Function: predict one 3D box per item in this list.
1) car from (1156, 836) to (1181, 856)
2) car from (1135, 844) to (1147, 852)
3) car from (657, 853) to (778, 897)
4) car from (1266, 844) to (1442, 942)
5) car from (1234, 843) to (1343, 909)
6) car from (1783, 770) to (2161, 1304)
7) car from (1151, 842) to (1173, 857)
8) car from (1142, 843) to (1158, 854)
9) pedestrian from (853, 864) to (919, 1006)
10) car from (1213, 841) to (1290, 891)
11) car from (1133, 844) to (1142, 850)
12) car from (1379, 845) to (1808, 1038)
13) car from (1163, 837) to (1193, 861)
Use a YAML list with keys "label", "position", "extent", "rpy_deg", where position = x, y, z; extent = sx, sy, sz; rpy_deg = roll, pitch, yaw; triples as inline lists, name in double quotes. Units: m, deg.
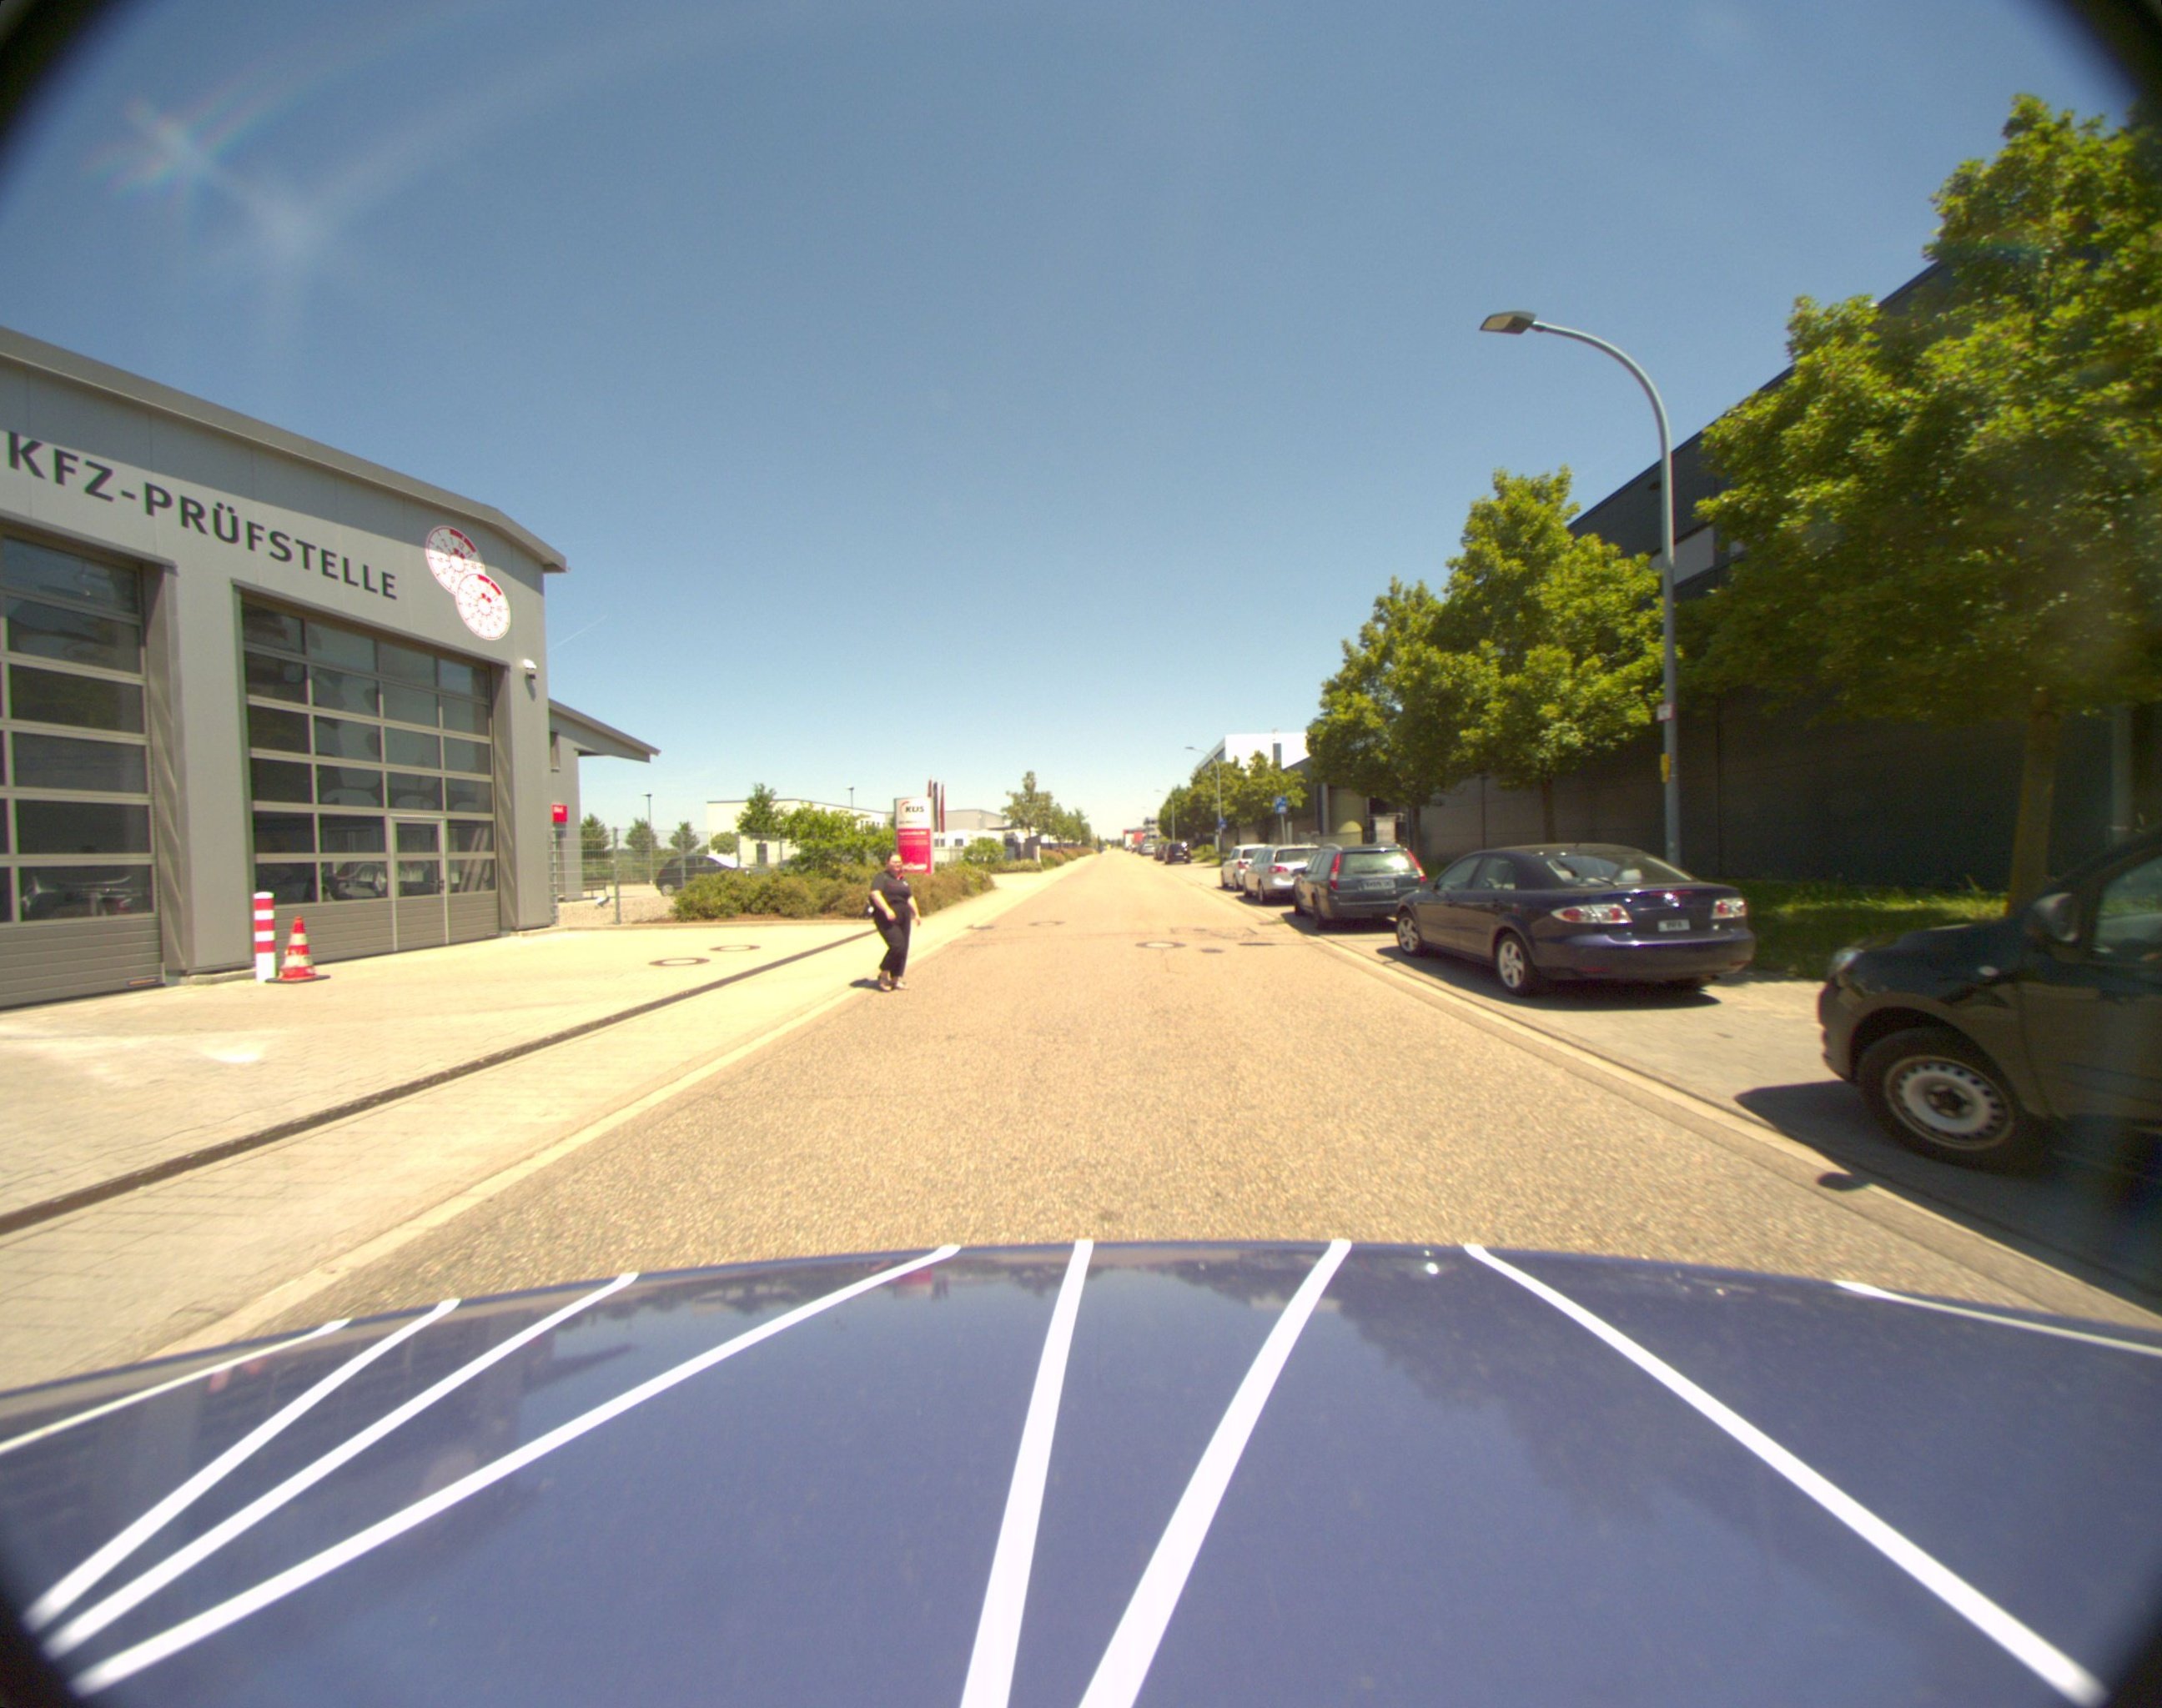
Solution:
- label: "car"
  position: [7.920, -0.717, 68.951]
  extent: [1.798, 1.701, 3.831]
  rpy_deg: [-3, 1, 2]
- label: "car"
  position: [9.688, -0.981, 123.099]
  extent: [1.798, 1.319, 3.831]
  rpy_deg: [-3, 1, 2]
- label: "car"
  position: [-12.705, 0.719, 26.731]
  extent: [3.359, 1.361, 1.792]
  rpy_deg: [-2, 1, -2]
- label: "car"
  position: [4.915, 0.601, 14.409]
  extent: [1.798, 1.477, 4.452]
  rpy_deg: [-3, 1, 2]
- label: "car"
  position: [5.364, 0.503, 20.173]
  extent: [1.798, 1.477, 4.190]
  rpy_deg: [-3, 1, 2]
- label: "car"
  position: [4.480, 0.583, 1.874]
  extent: [1.835, 1.800, 4.083]
  rpy_deg: [-3, 1, 4]
- label: "car"
  position: [7.993, -0.481, 75.334]
  extent: [1.798, 1.319, 3.831]
  rpy_deg: [-3, 1, 2]
- label: "car"
  position: [8.980, -0.771, 98.521]
  extent: [1.798, 1.319, 3.831]
  rpy_deg: [-3, 1, 2]
- label: "pedestrian"
  position: [-2.231, 0.903, 8.754]
  extent: [0.534, 1.559, 0.681]
  rpy_deg: [0, 1, 4]
- label: "car"
  position: [5.741, 0.362, 26.006]
  extent: [1.798, 1.477, 3.969]
  rpy_deg: [-3, 1, 2]
- label: "car"
  position: [11.951, -1.489, 160.753]
  extent: [1.798, 1.319, 3.831]
  rpy_deg: [-3, 1, 2]
- label: "car"
  position: [4.968, 0.684, 8.305]
  extent: [1.798, 1.456, 4.452]
  rpy_deg: [-3, 1, 3]
- label: "car"
  position: [7.271, -0.395, 57.025]
  extent: [1.798, 1.638, 3.831]
  rpy_deg: [-3, 1, 2]
